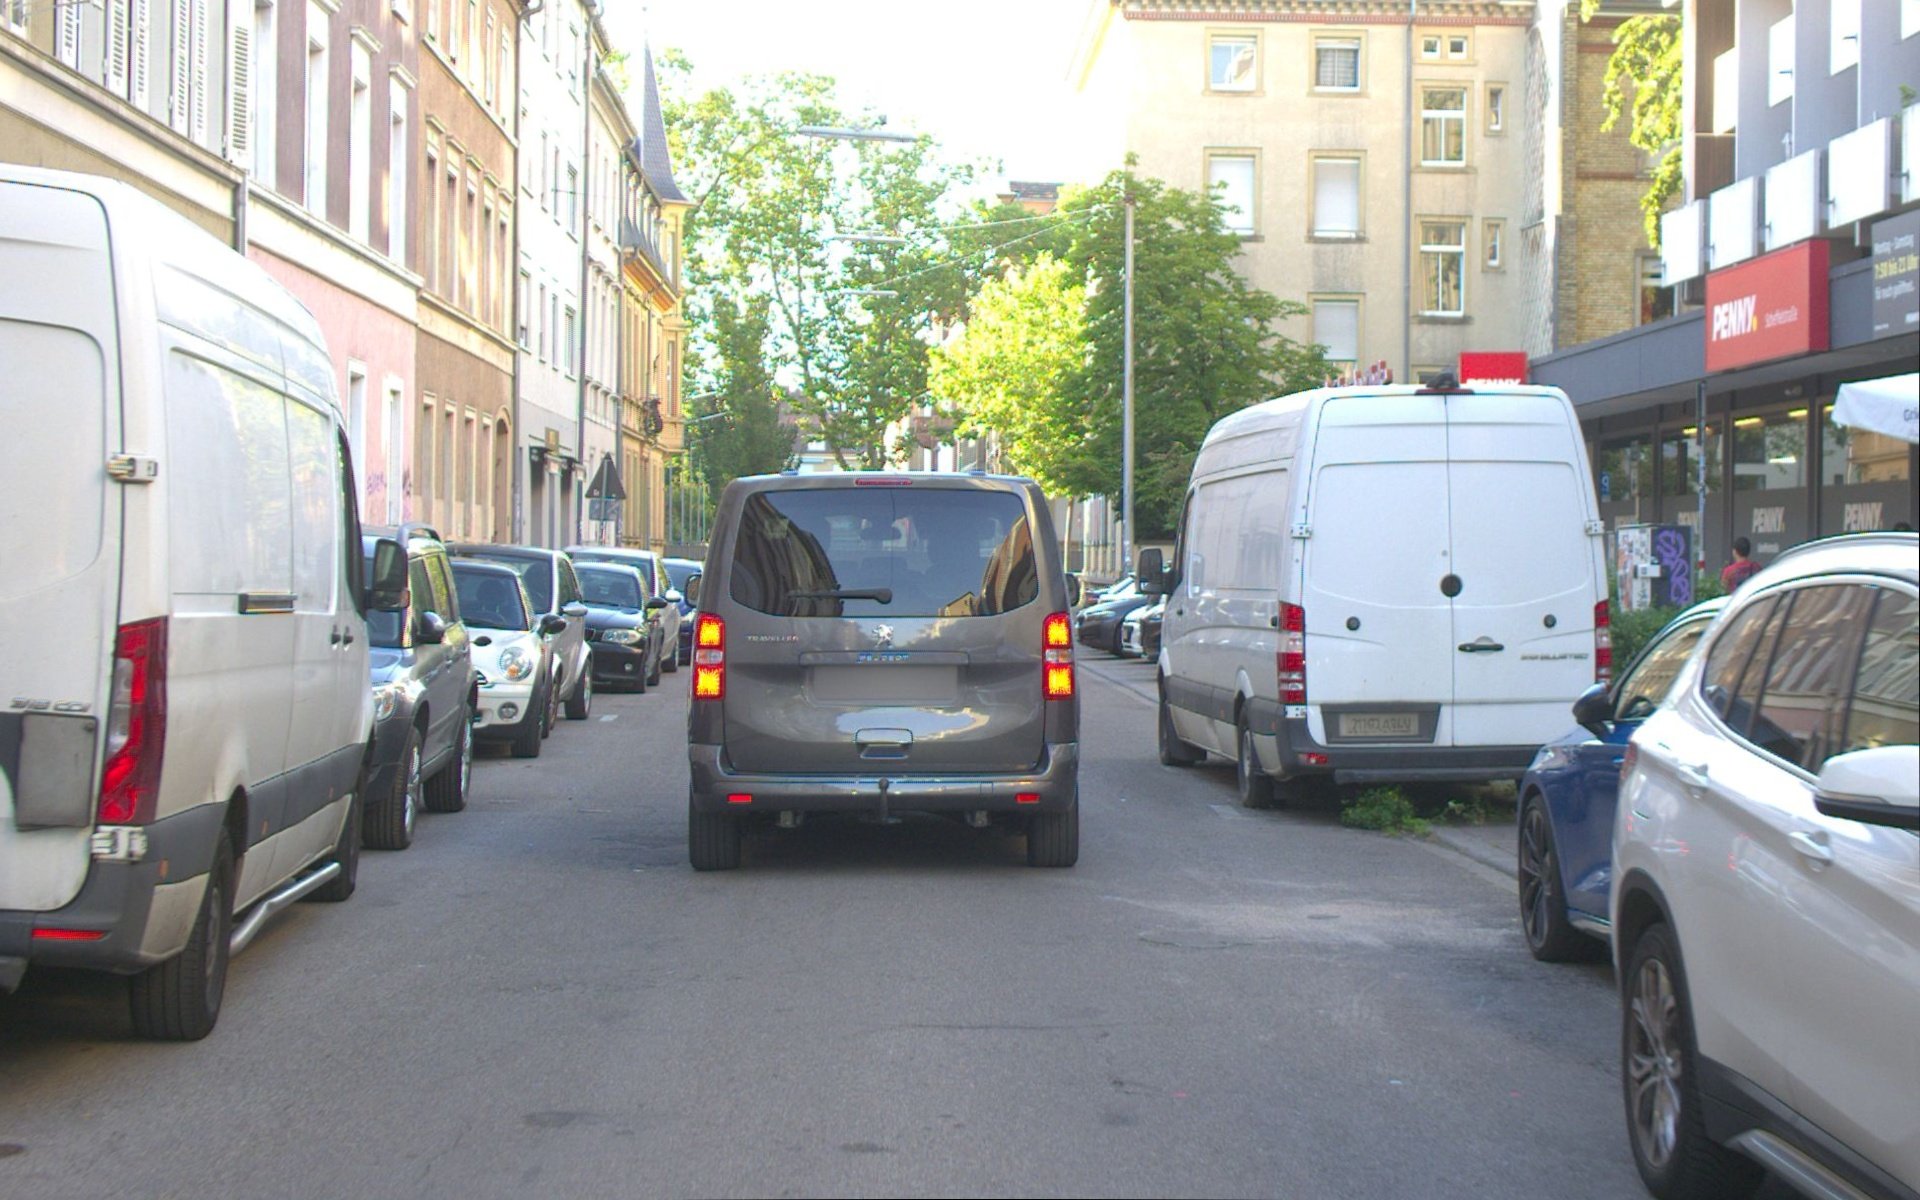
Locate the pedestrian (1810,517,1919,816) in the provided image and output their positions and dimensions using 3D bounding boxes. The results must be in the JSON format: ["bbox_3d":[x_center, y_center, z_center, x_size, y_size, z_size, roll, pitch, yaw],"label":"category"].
[{"bbox_3d":[5.211,0.330,18.482,0.870,1.550,0.876,-2,1,-23],"label":"pedestrian"}]

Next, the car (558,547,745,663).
[{"bbox_3d":[-4.400,0.035,49.748,1.994,1.555,4.584,2,1,3],"label":"car"}]

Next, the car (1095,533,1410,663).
[{"bbox_3d":[4.471,-0.044,52.866,4.472,1.852,1.885,1,1,-8],"label":"car"}]

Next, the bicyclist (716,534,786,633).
[{"bbox_3d":[-3.332,-0.271,54.833,1.034,1.572,0.833,0,1,3],"label":"bicyclist"}]

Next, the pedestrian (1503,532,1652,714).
[{"bbox_3d":[5.936,0.203,33.087,0.932,1.714,1.063,-1,1,-35],"label":"pedestrian"}]

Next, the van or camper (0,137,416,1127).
[{"bbox_3d":[-3.358,0.042,12.699,1.949,2.640,7.142,0,1,-3],"label":"van or camper"}]

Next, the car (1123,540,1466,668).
[{"bbox_3d":[4.826,0.046,49.888,4.568,1.699,2.001,1,1,-8],"label":"car"}]

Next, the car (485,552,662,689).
[{"bbox_3d":[-4.315,0.191,38.935,1.788,1.393,4.468,2,1,-4],"label":"car"}]

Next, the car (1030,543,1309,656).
[{"bbox_3d":[3.684,-0.017,60.798,4.568,1.852,2.001,1,1,-8],"label":"car"}]

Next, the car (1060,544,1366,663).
[{"bbox_3d":[4.059,0.043,55.615,4.568,1.786,2.001,1,1,-8],"label":"car"}]

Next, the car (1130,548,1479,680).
[{"bbox_3d":[4.691,0.177,47.183,4.454,1.670,1.797,1,1,-6],"label":"car"}]

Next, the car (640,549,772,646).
[{"bbox_3d":[-4.390,-0.078,59.371,2.144,1.555,4.585,1,1,-4],"label":"car"}]

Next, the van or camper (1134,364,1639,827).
[{"bbox_3d":[2.588,-0.076,23.079,2.099,2.593,7.513,0,1,-3],"label":"van or camper"}]

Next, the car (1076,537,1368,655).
[{"bbox_3d":[4.419,-0.076,58.382,4.568,1.852,2.001,1,1,-8],"label":"car"}]

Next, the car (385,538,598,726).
[{"bbox_3d":[-4.054,0.248,30.053,1.386,1.527,2.749,1,1,2],"label":"car"}]

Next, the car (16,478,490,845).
[{"bbox_3d":[-3.742,0.268,18.934,1.863,1.745,4.294,1,1,-3],"label":"car"}]

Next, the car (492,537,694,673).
[{"bbox_3d":[-4.614,0.027,43.842,1.993,1.599,4.585,1,1,1],"label":"car"}]

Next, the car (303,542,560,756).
[{"bbox_3d":[-4.002,0.321,26.503,1.710,1.492,3.856,1,1,-5],"label":"car"}]

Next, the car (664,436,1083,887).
[{"bbox_3d":[-0.456,0.240,17.494,1.857,2.007,4.000,-1,1,-2],"label":"car"}]

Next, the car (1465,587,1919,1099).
[{"bbox_3d":[3.036,0.679,11.917,1.722,1.383,4.295,-1,1,-3],"label":"car"}]

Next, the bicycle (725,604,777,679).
[{"bbox_3d":[-3.307,0.642,54.554,0.621,1.134,2.257,0,1,2],"label":"bicycle"}]

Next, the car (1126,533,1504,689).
[{"bbox_3d":[4.538,0.130,44.399,4.569,1.852,2.000,1,1,-2],"label":"car"}]

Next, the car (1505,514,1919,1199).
[{"bbox_3d":[2.496,0.657,7.027,1.722,1.606,4.589,1,1,-4],"label":"car"}]

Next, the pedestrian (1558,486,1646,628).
[{"bbox_3d":[8.865,-0.592,47.463,1.087,1.938,0.871,1,1,16],"label":"pedestrian"}]
